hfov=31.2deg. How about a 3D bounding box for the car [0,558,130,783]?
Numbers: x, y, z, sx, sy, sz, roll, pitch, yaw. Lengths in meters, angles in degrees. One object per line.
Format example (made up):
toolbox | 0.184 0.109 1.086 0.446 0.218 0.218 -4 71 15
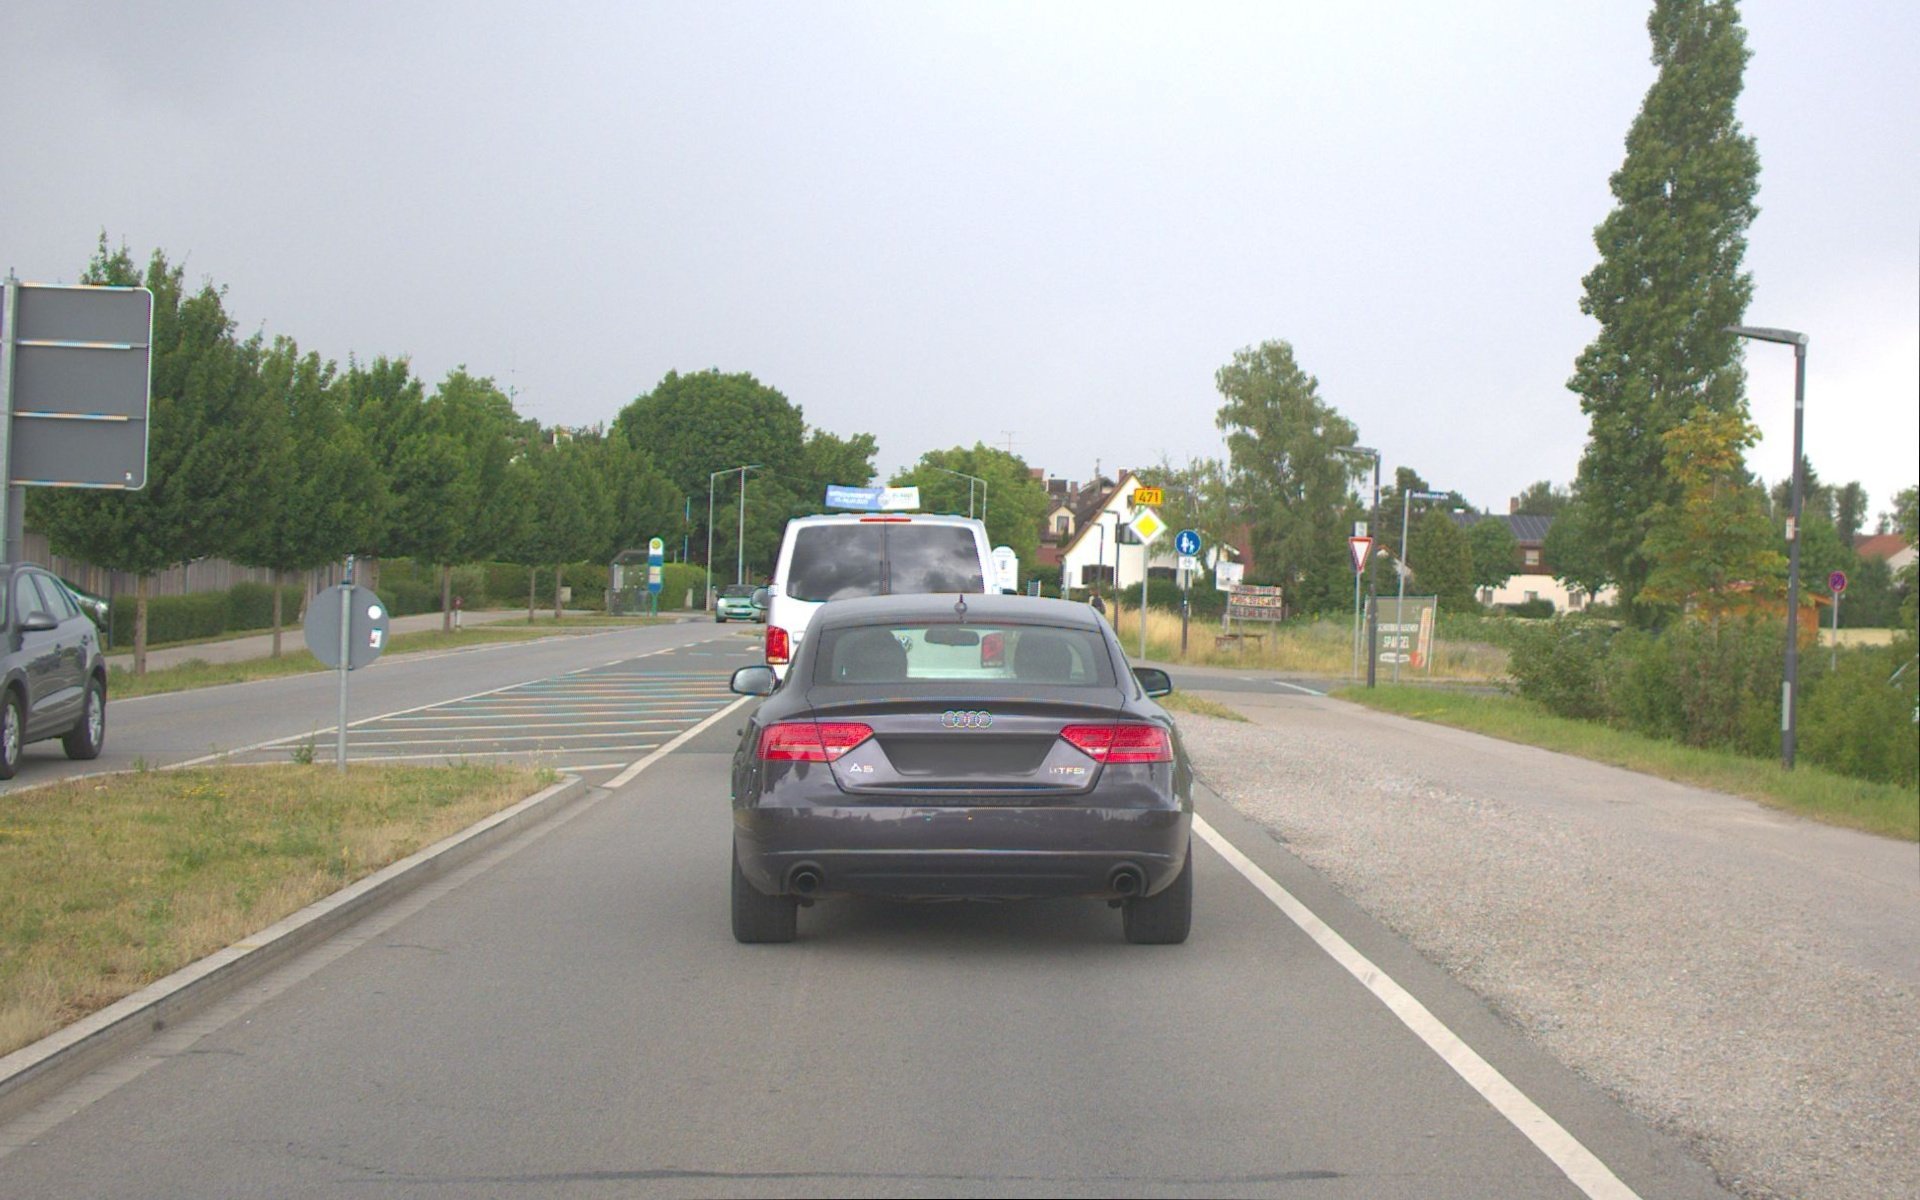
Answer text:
car | -7.644 0.472 25.851 1.825 1.577 4.216 0 1 0

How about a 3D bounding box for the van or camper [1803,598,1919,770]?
van or camper | 15.956 1.211 50.668 6.465 2.456 2.282 0 1 -3

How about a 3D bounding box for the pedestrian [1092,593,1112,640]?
pedestrian | 4.637 0.532 112.339 0.623 1.519 0.680 0 0 -1

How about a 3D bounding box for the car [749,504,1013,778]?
car | -0.649 0.276 26.926 1.825 1.907 4.000 3 1 -2

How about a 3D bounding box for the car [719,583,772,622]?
car | -8.086 0.078 129.744 1.770 1.439 4.000 0 1 -1

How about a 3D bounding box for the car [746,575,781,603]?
car | -10.089 -0.574 177.098 1.653 1.424 3.602 0 1 -1

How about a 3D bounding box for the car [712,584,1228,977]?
car | -0.116 0.649 14.797 1.825 1.384 4.388 0 1 -5
